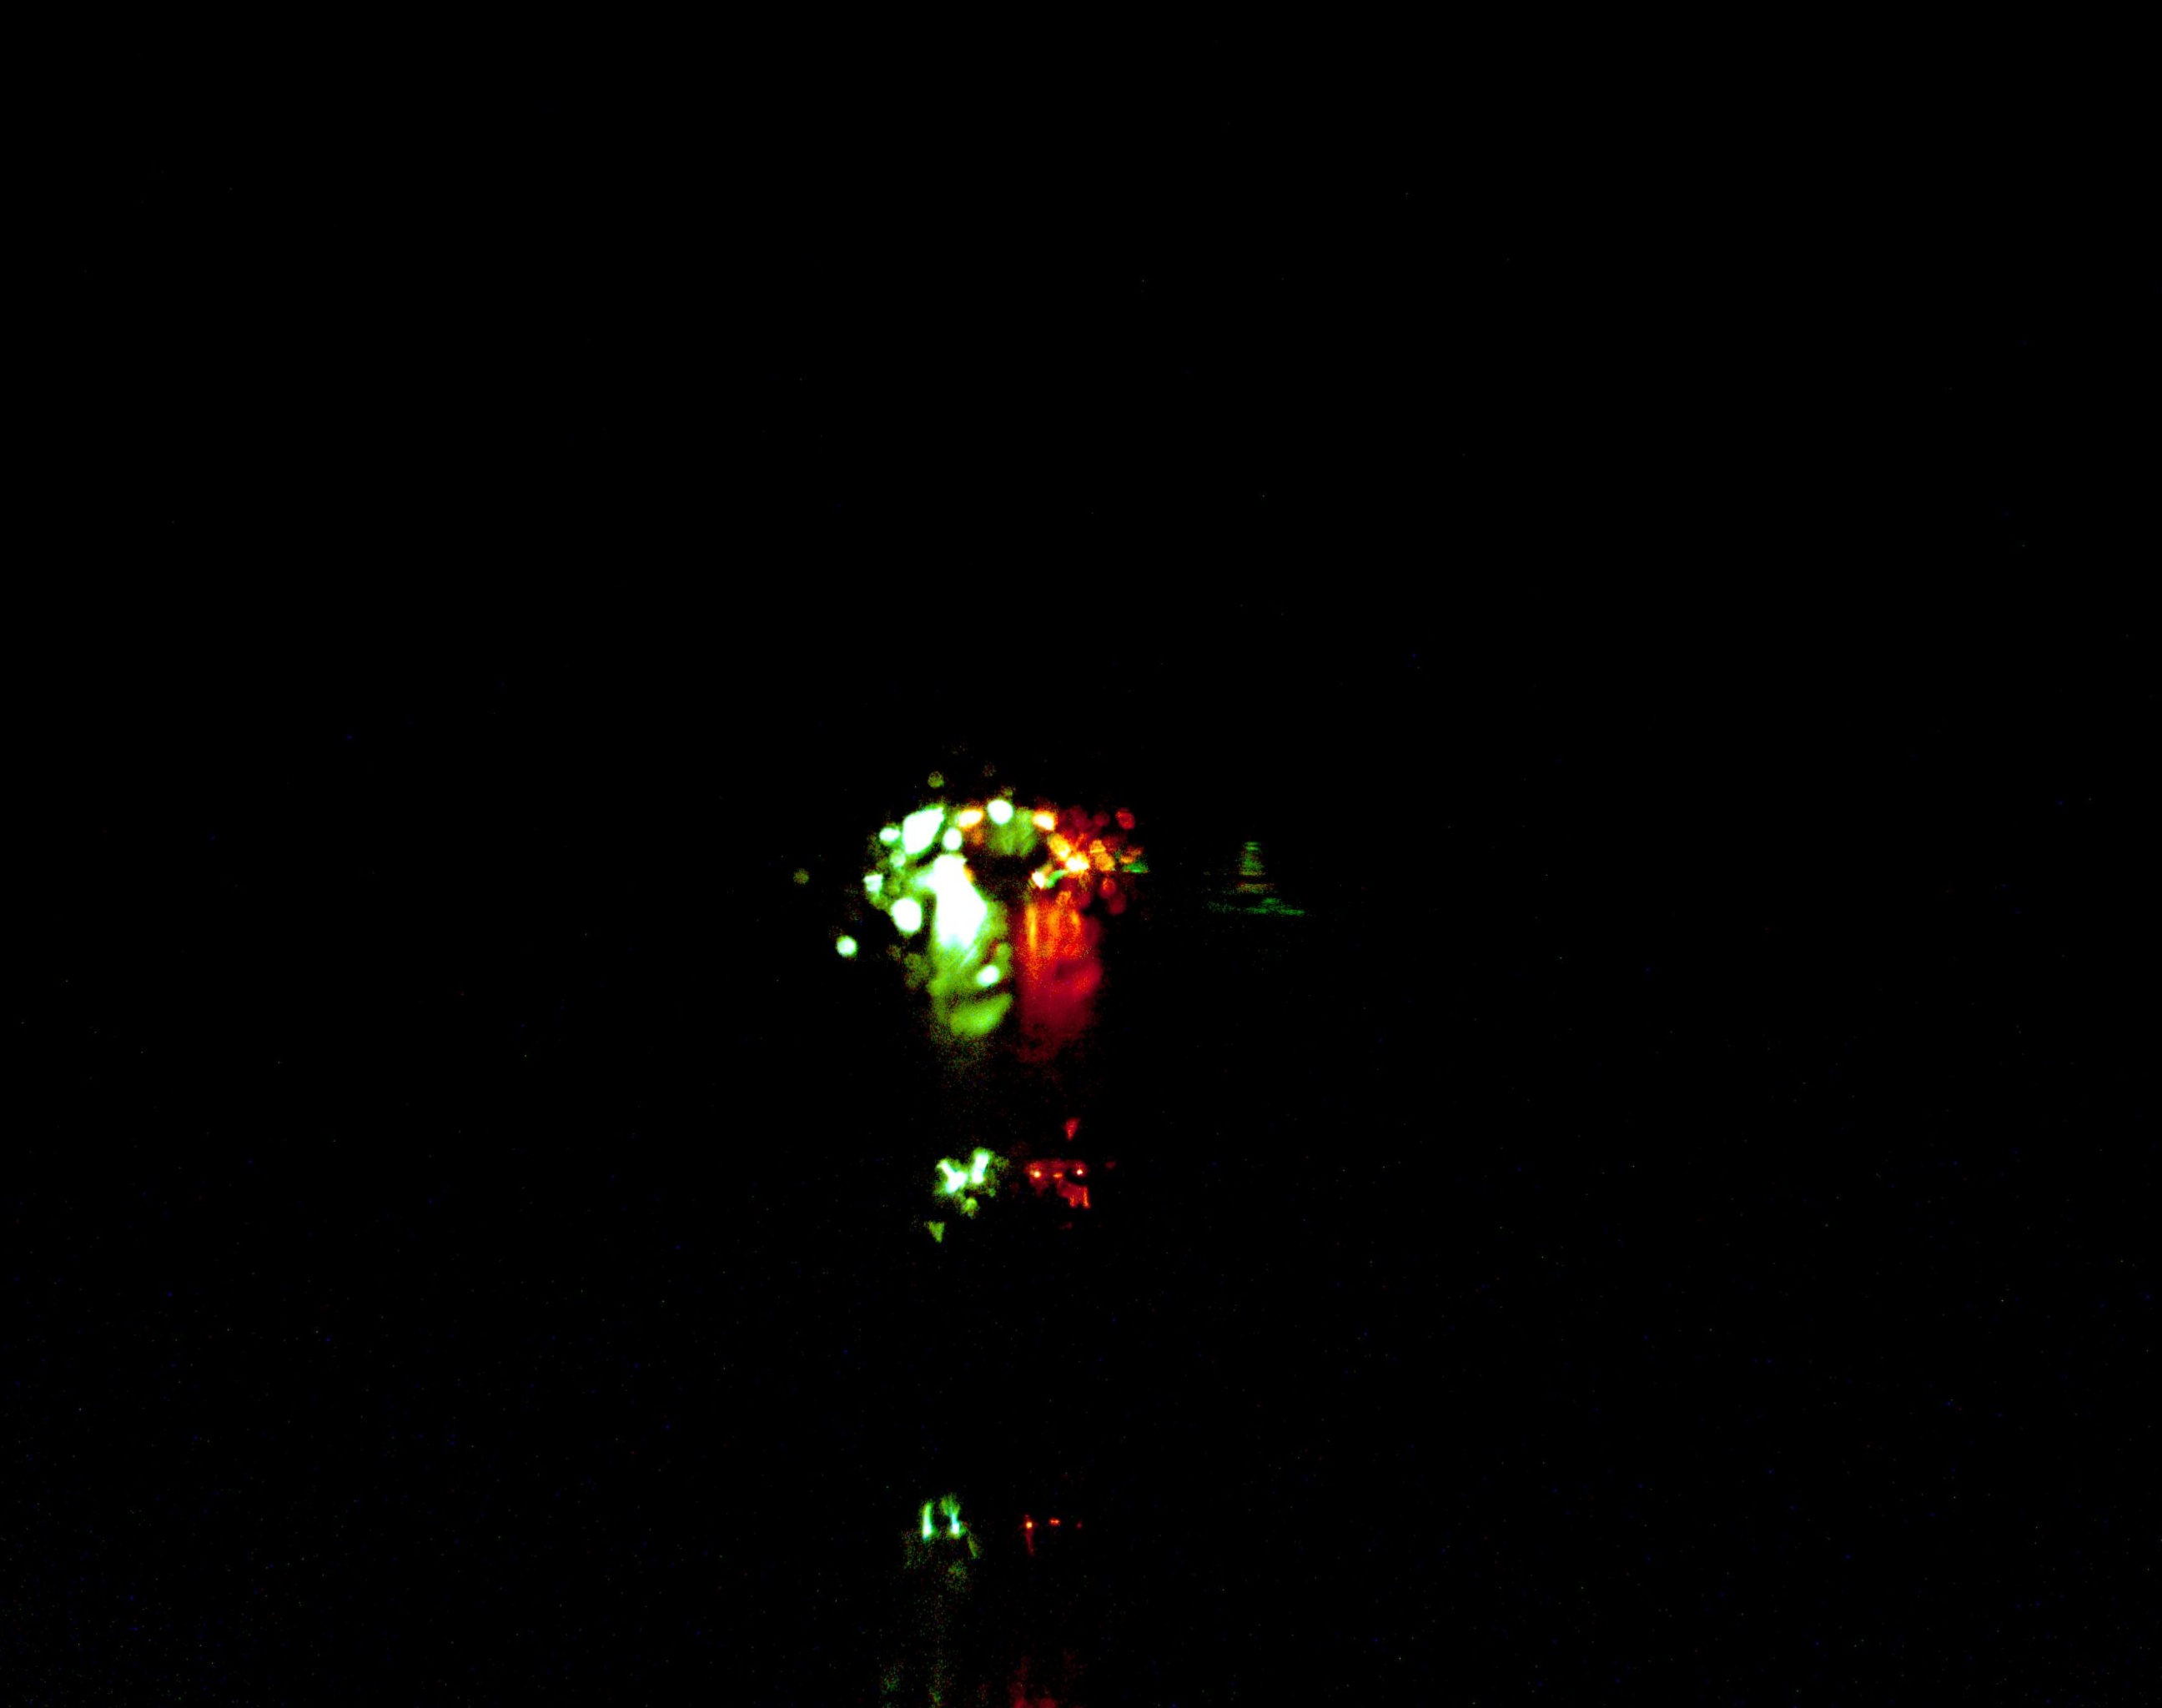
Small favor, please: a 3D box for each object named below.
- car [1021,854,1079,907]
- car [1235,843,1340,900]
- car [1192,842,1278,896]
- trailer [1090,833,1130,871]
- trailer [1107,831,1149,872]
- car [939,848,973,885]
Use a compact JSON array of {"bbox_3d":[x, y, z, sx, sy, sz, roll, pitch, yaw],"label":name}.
[{"bbox_3d":[-1.112,0.842,27.471,1.798,1.628,3.609,1,0,-5],"label":"car"},{"bbox_3d":[7.066,0.563,28.339,1.880,1.809,4.138,1,0,-12],"label":"car"},{"bbox_3d":[6.195,0.579,33.292,1.880,2.040,4.372,1,0,-13],"label":"car"},{"bbox_3d":[1.888,-0.160,54.808,1.630,2.364,4.636,3,0,-10],"label":"trailer"},{"bbox_3d":[2.845,-0.142,50.075,1.605,2.352,4.418,3,0,-8],"label":"trailer"},{"bbox_3d":[-7.500,0.706,48.973,1.917,2.057,4.873,1,0,-8],"label":"car"}]
